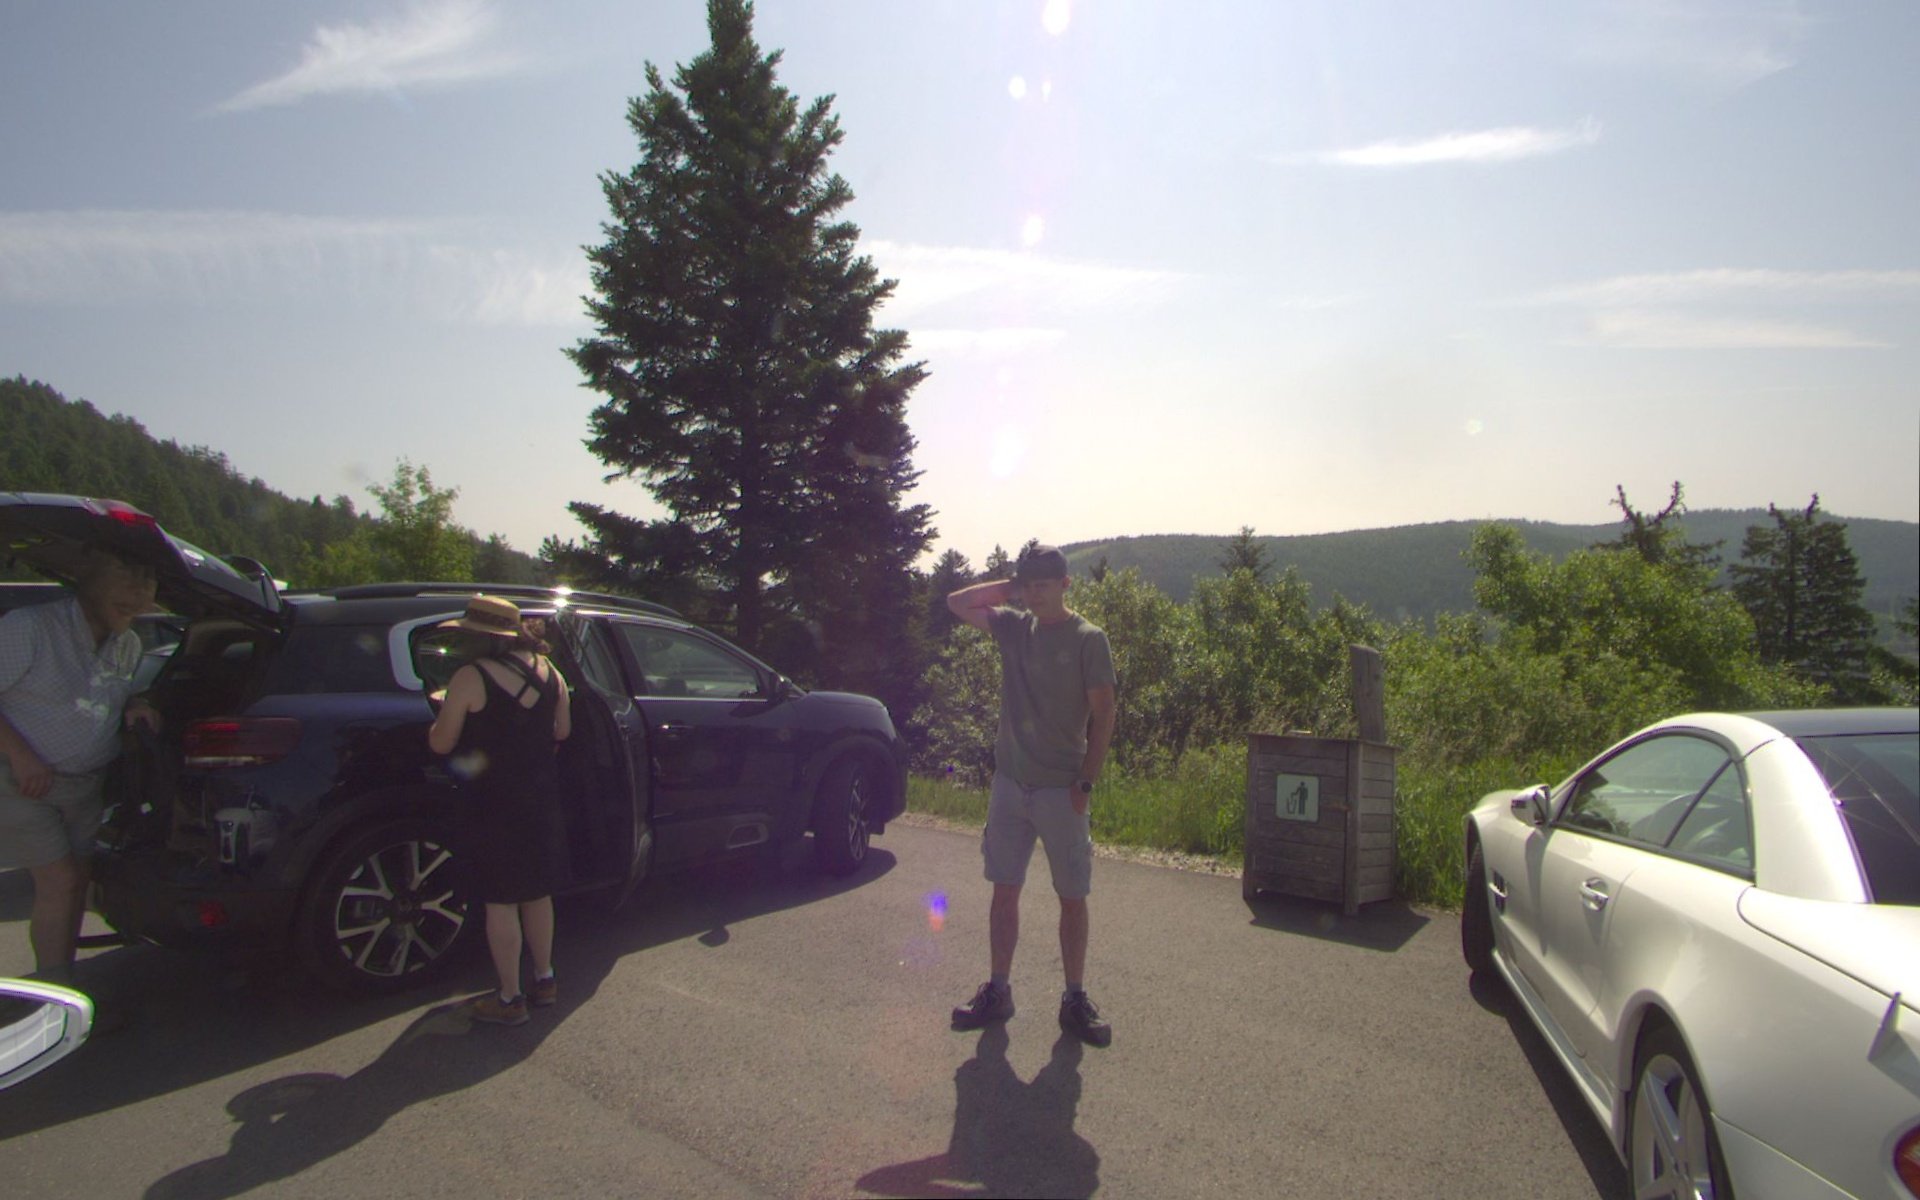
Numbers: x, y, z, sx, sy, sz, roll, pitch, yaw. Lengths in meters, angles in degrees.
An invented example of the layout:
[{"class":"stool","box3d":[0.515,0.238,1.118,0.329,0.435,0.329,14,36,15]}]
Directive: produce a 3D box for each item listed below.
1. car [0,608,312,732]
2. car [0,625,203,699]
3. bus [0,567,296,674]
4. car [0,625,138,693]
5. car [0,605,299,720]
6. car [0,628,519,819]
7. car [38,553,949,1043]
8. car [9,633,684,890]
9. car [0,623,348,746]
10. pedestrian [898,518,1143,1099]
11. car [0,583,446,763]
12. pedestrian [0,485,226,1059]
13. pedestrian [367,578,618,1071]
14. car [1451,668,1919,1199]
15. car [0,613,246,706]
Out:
[{"class":"car","box3d":[-12.512,0.967,15.133,1.818,1.574,4.220,-1,0,43]},{"class":"car","box3d":[-19.443,1.331,22.247,1.602,1.417,3.964,-1,0,43]},{"class":"bus","box3d":[-31.807,0.676,36.047,12.974,3.579,3.021,-2,0,-37]},{"class":"car","box3d":[-22.376,1.421,23.951,1.841,1.468,3.964,-1,0,43]},{"class":"car","box3d":[-14.506,0.992,17.120,2.026,1.673,5.005,-1,0,43]},{"class":"car","box3d":[-6.526,0.985,9.438,1.680,1.394,4.069,-1,-2,36]},{"class":"car","box3d":[-2.111,0.803,5.688,1.847,1.646,4.331,-2,-4,37]},{"class":"car","box3d":[-4.258,0.962,7.633,1.679,1.394,4.073,-1,-2,33]},{"class":"car","box3d":[-10.733,1.032,13.183,1.818,1.285,4.220,-1,0,43]},{"class":"pedestrian","box3d":[0.248,0.674,3.606,0.734,1.823,0.735,-1,-1,14]},{"class":"car","box3d":[-8.765,0.698,11.295,1.925,1.718,4.918,-1,0,45]},{"class":"pedestrian","box3d":[-3.278,0.568,3.655,0.724,1.896,0.756,1,1,-17]},{"class":"pedestrian","box3d":[-1.754,0.760,3.773,0.531,1.633,0.710,-2,-2,42]},{"class":"car","box3d":[2.643,0.919,2.874,1.725,1.312,4.406,0,-2,20]},{"class":"car","box3d":[-16.882,1.124,20.016,1.642,1.574,3.964,-1,0,43]}]
